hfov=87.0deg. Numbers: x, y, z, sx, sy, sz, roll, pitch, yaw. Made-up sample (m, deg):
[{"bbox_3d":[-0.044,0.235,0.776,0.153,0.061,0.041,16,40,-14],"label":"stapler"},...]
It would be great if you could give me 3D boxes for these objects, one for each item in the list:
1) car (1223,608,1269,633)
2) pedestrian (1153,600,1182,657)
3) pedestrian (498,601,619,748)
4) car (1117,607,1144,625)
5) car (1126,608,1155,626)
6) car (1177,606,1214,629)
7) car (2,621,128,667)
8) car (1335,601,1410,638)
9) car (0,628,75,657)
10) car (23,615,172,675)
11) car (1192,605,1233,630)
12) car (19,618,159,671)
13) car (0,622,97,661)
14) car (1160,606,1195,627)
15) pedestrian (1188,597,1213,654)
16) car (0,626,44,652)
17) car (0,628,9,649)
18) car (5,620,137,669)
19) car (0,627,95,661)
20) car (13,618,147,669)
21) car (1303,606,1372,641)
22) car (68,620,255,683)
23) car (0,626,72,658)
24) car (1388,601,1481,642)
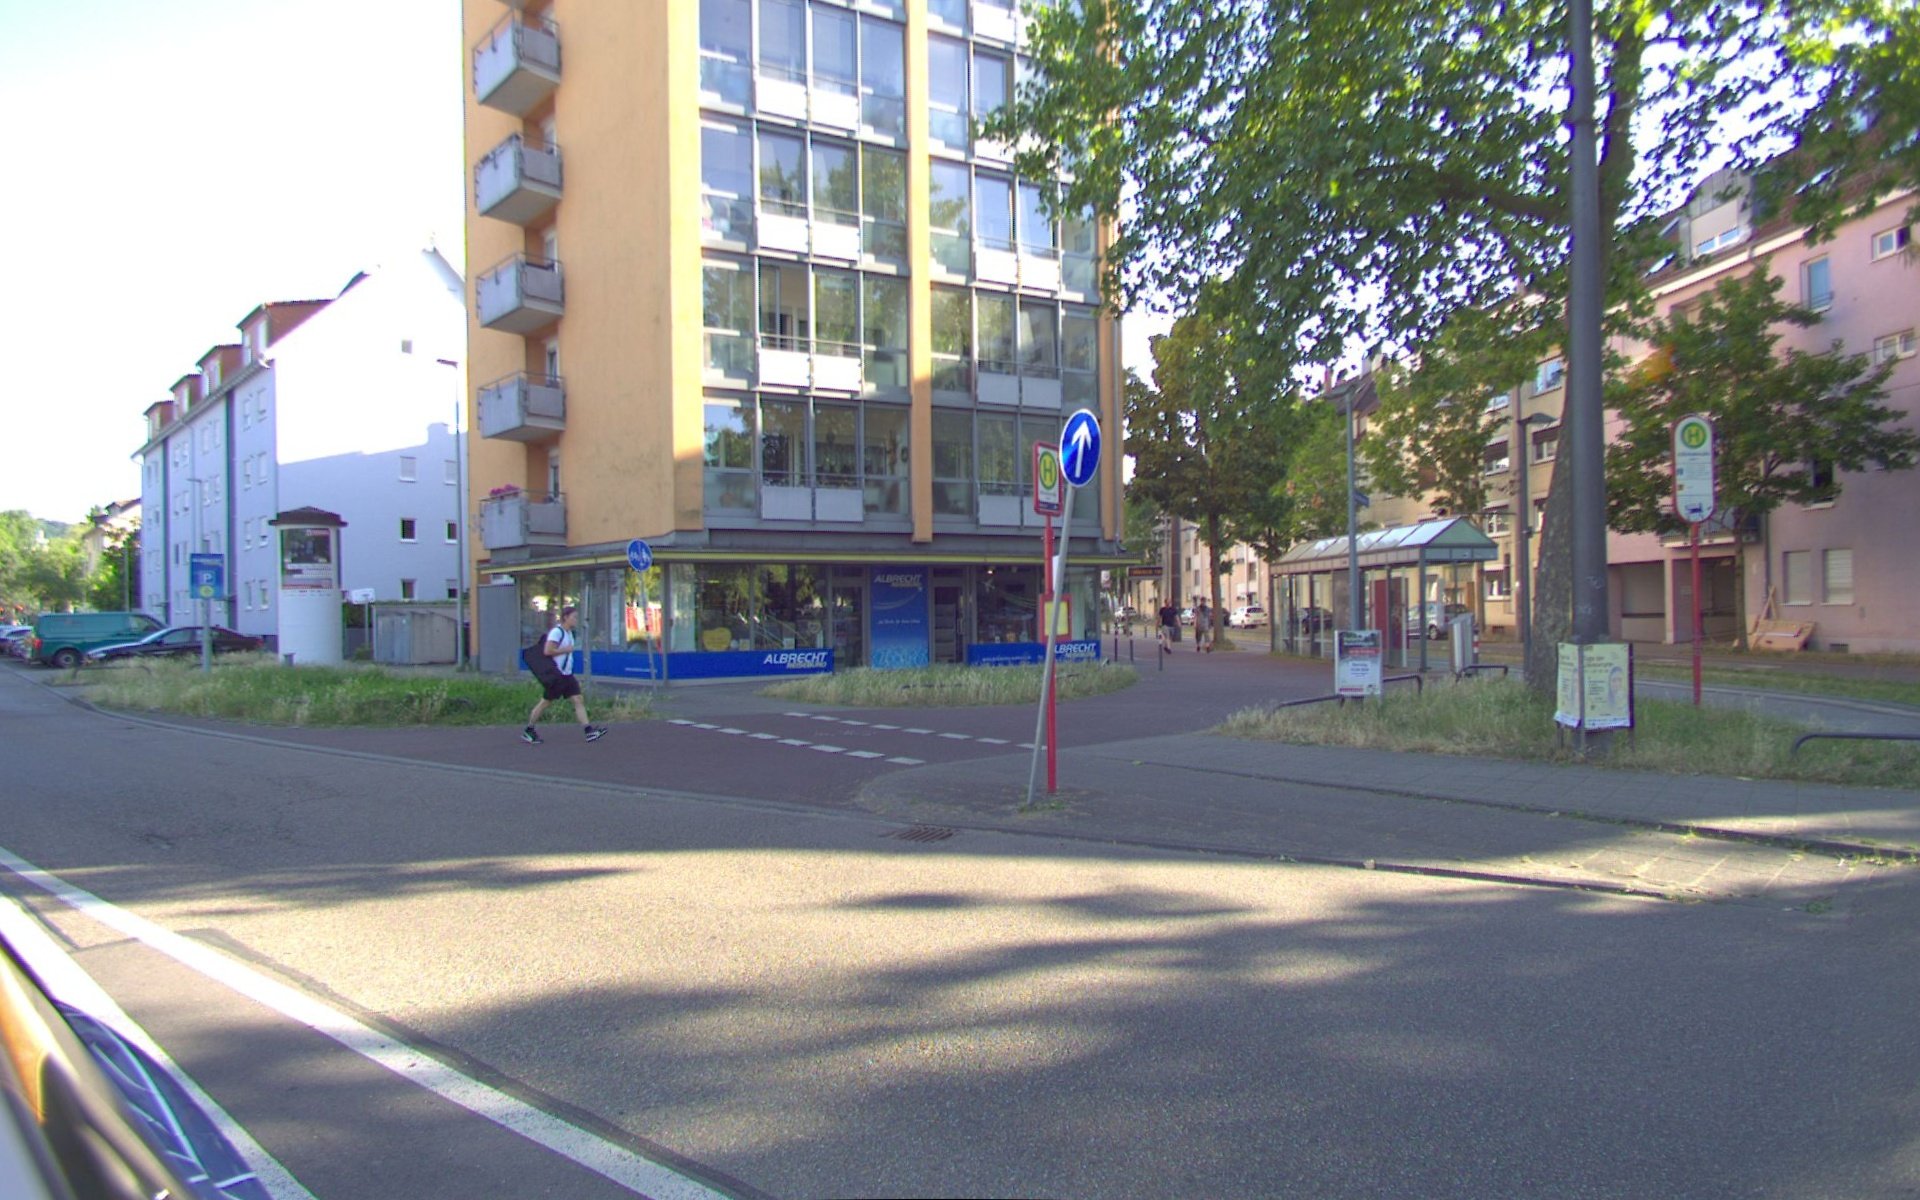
[{"bbox_3d":[19.167,1.346,68.059,1.741,1.588,4.049,-1,0,-3],"label":"car"},{"bbox_3d":[6.494,0.881,31.717,0.803,1.763,0.538,-1,0,6],"label":"pedestrian"},{"bbox_3d":[-5.026,0.898,12.707,1.080,1.750,0.897,-1,0,19],"label":"pedestrian"},{"bbox_3d":[17.736,1.637,105.431,1.911,1.719,4.372,-1,0,-3],"label":"car"},{"bbox_3d":[17.779,1.637,99.880,1.911,1.719,4.003,-1,0,-3],"label":"car"},{"bbox_3d":[18.638,1.351,80.354,1.771,1.719,4.170,-1,0,-3],"label":"car"},{"bbox_3d":[-38.832,1.867,43.937,4.016,1.765,1.900,-1,0,-44],"label":"car"},{"bbox_3d":[19.901,0.918,48.994,1.911,1.719,3.827,-1,0,-3],"label":"car"},{"bbox_3d":[-55.664,2.504,60.389,4.199,1.585,1.867,-1,0,-44],"label":"car"},{"bbox_3d":[-31.219,1.558,36.695,2.001,1.962,3.942,-1,0,44],"label":"car"},{"bbox_3d":[18.700,1.266,75.164,1.808,1.719,4.059,-1,0,-3],"label":"car"},{"bbox_3d":[-33.125,1.650,38.539,3.941,1.829,2.001,-1,0,-44],"label":"car"},{"bbox_3d":[-46.122,2.040,50.873,4.061,1.785,1.758,-1,0,-44],"label":"car"},{"bbox_3d":[18.426,1.393,85.808,1.830,1.719,4.170,-1,0,-3],"label":"car"},{"bbox_3d":[7.509,0.785,31.620,0.622,1.763,0.689,-1,0,6],"label":"pedestrian"},{"bbox_3d":[-63.500,2.606,67.001,4.199,1.585,1.867,-1,0,-44],"label":"car"},{"bbox_3d":[-74.763,2.990,76.970,3.490,1.585,1.867,-1,0,-44],"label":"car"},{"bbox_3d":[-36.862,1.809,42.019,4.003,1.829,1.938,-1,0,-44],"label":"car"},{"bbox_3d":[-48.124,2.277,52.964,4.199,1.585,1.867,-1,0,-44],"label":"car"},{"bbox_3d":[-35.124,1.676,40.441,3.941,1.829,2.001,-1,0,-44],"label":"car"},{"bbox_3d":[19.912,1.202,53.607,1.911,1.719,4.115,-1,0,-3],"label":"car"},{"bbox_3d":[-24.277,1.510,30.873,4.361,1.674,2.003,-1,0,-41],"label":"car"},{"bbox_3d":[-55.797,2.475,60.442,4.016,1.765,1.900,-1,0,-44],"label":"car"},{"bbox_3d":[20.742,0.907,44.439,1.911,1.719,4.115,-1,0,-3],"label":"car"}]
